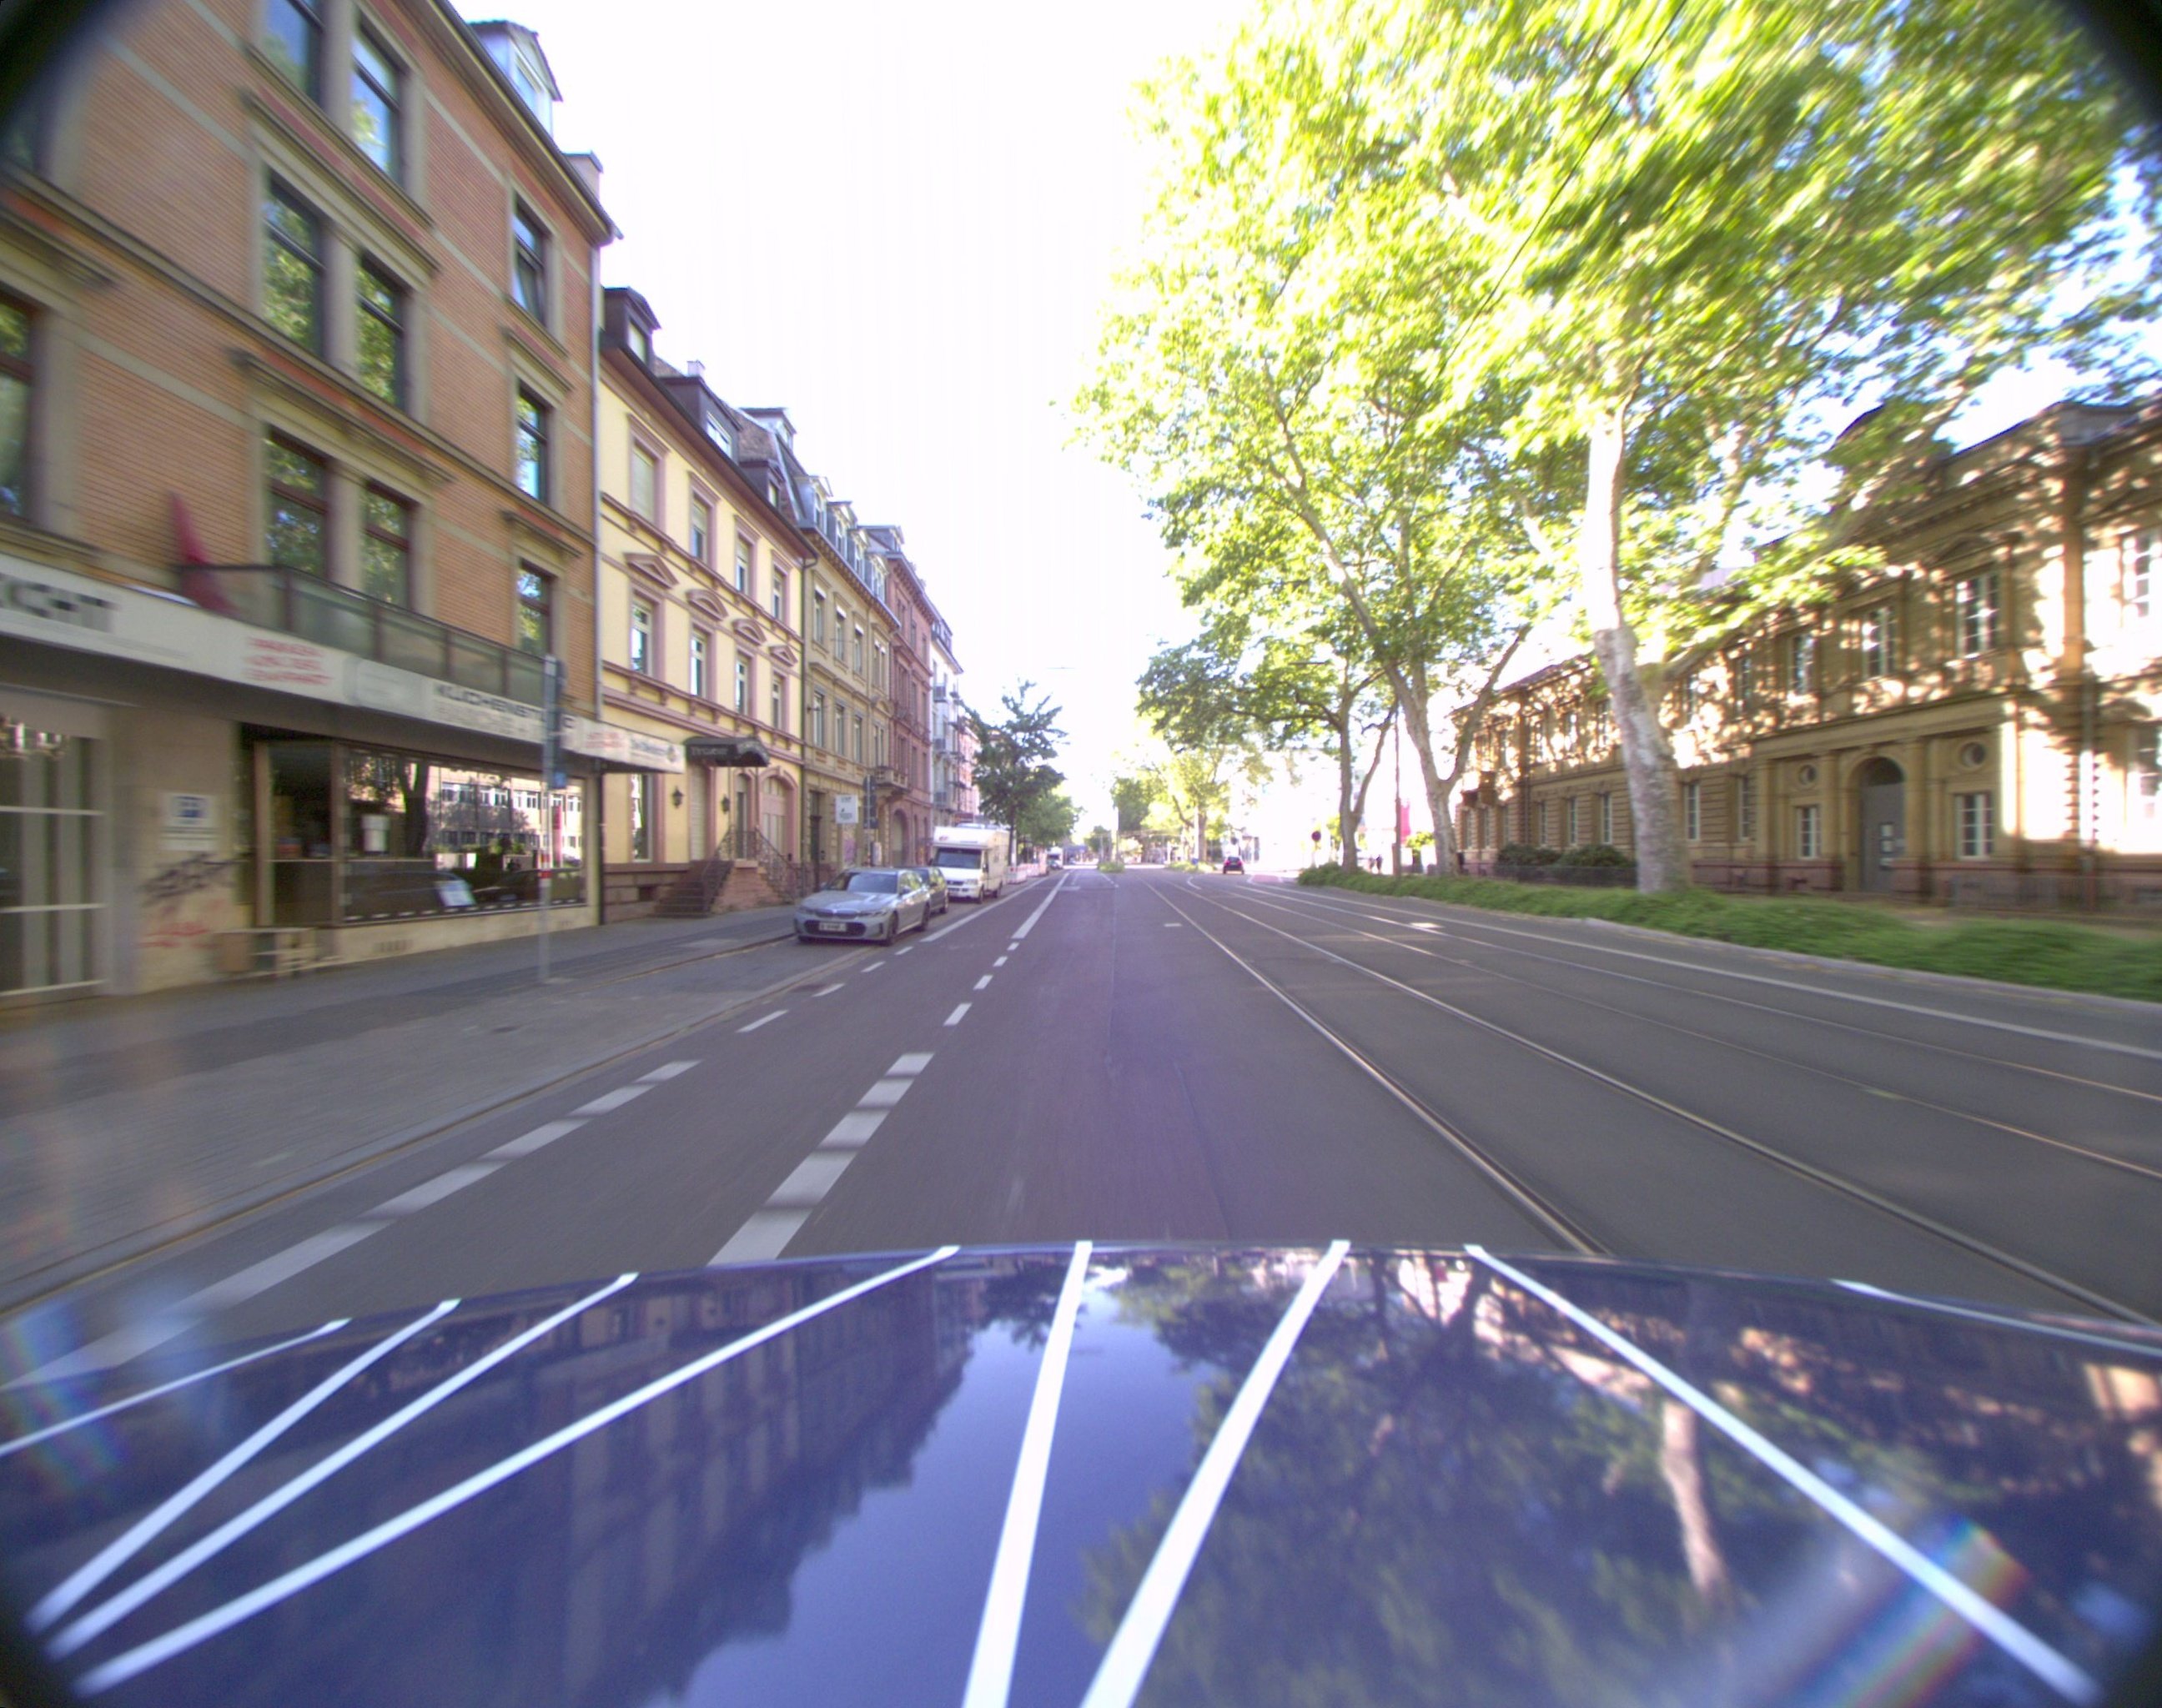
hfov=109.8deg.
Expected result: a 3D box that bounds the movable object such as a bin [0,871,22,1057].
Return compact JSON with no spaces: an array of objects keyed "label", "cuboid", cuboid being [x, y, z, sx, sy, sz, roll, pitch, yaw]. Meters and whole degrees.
[{"label":"movable object such as a bin","cuboid":[-9.487,0.913,5.674,1.296,1.511,1.286,-1,1,1]}]

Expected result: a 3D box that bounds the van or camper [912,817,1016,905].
[{"label":"van or camper","cuboid":[-4.403,0.216,30.265,2.483,2.955,7.884,3,1,3]}]

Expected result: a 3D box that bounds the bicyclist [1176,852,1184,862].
[{"label":"bicyclist","cuboid":[15.592,0.469,119.695,1.007,1.567,0.760,-1,1,1]}]

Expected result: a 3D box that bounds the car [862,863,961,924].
[{"label":"car","cuboid":[-4.649,1.028,21.417,1.648,1.426,4.029,3,1,3]}]

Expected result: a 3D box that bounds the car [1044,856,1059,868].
[{"label":"car","cuboid":[-3.666,0.970,94.053,1.656,1.439,3.800,0,0,0]}]

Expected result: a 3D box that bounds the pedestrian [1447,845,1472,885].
[{"label":"pedestrian","cuboid":[17.878,0.521,35.864,0.721,1.839,0.837,-1,1,-2]}]

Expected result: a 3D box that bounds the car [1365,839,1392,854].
[{"label":"car","cuboid":[37.921,-0.960,96.890,1.852,1.742,4.000,-1,0,1]}]

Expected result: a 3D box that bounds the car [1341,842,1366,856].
[{"label":"car","cuboid":[35.036,-0.638,97.728,1.852,1.807,4.000,-1,0,1]}]

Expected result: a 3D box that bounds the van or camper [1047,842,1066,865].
[{"label":"van or camper","cuboid":[-3.325,-0.104,104.486,2.172,3.074,7.290,0,0,1]}]

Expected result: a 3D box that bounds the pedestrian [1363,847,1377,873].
[{"label":"pedestrian","cuboid":[19.348,0.390,50.845,0.635,1.687,0.656,-1,1,-3]}]

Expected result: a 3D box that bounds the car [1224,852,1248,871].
[{"label":"car","cuboid":[14.157,0.697,69.060,1.869,1.620,4.565,0,0,15]}]

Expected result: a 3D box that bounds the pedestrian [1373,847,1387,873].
[{"label":"pedestrian","cuboid":[20.048,0.412,50.934,0.673,1.687,0.661,-1,1,-6]}]

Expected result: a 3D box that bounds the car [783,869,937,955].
[{"label":"car","cuboid":[-4.445,1.091,16.078,1.814,1.426,4.664,0,1,1]}]
